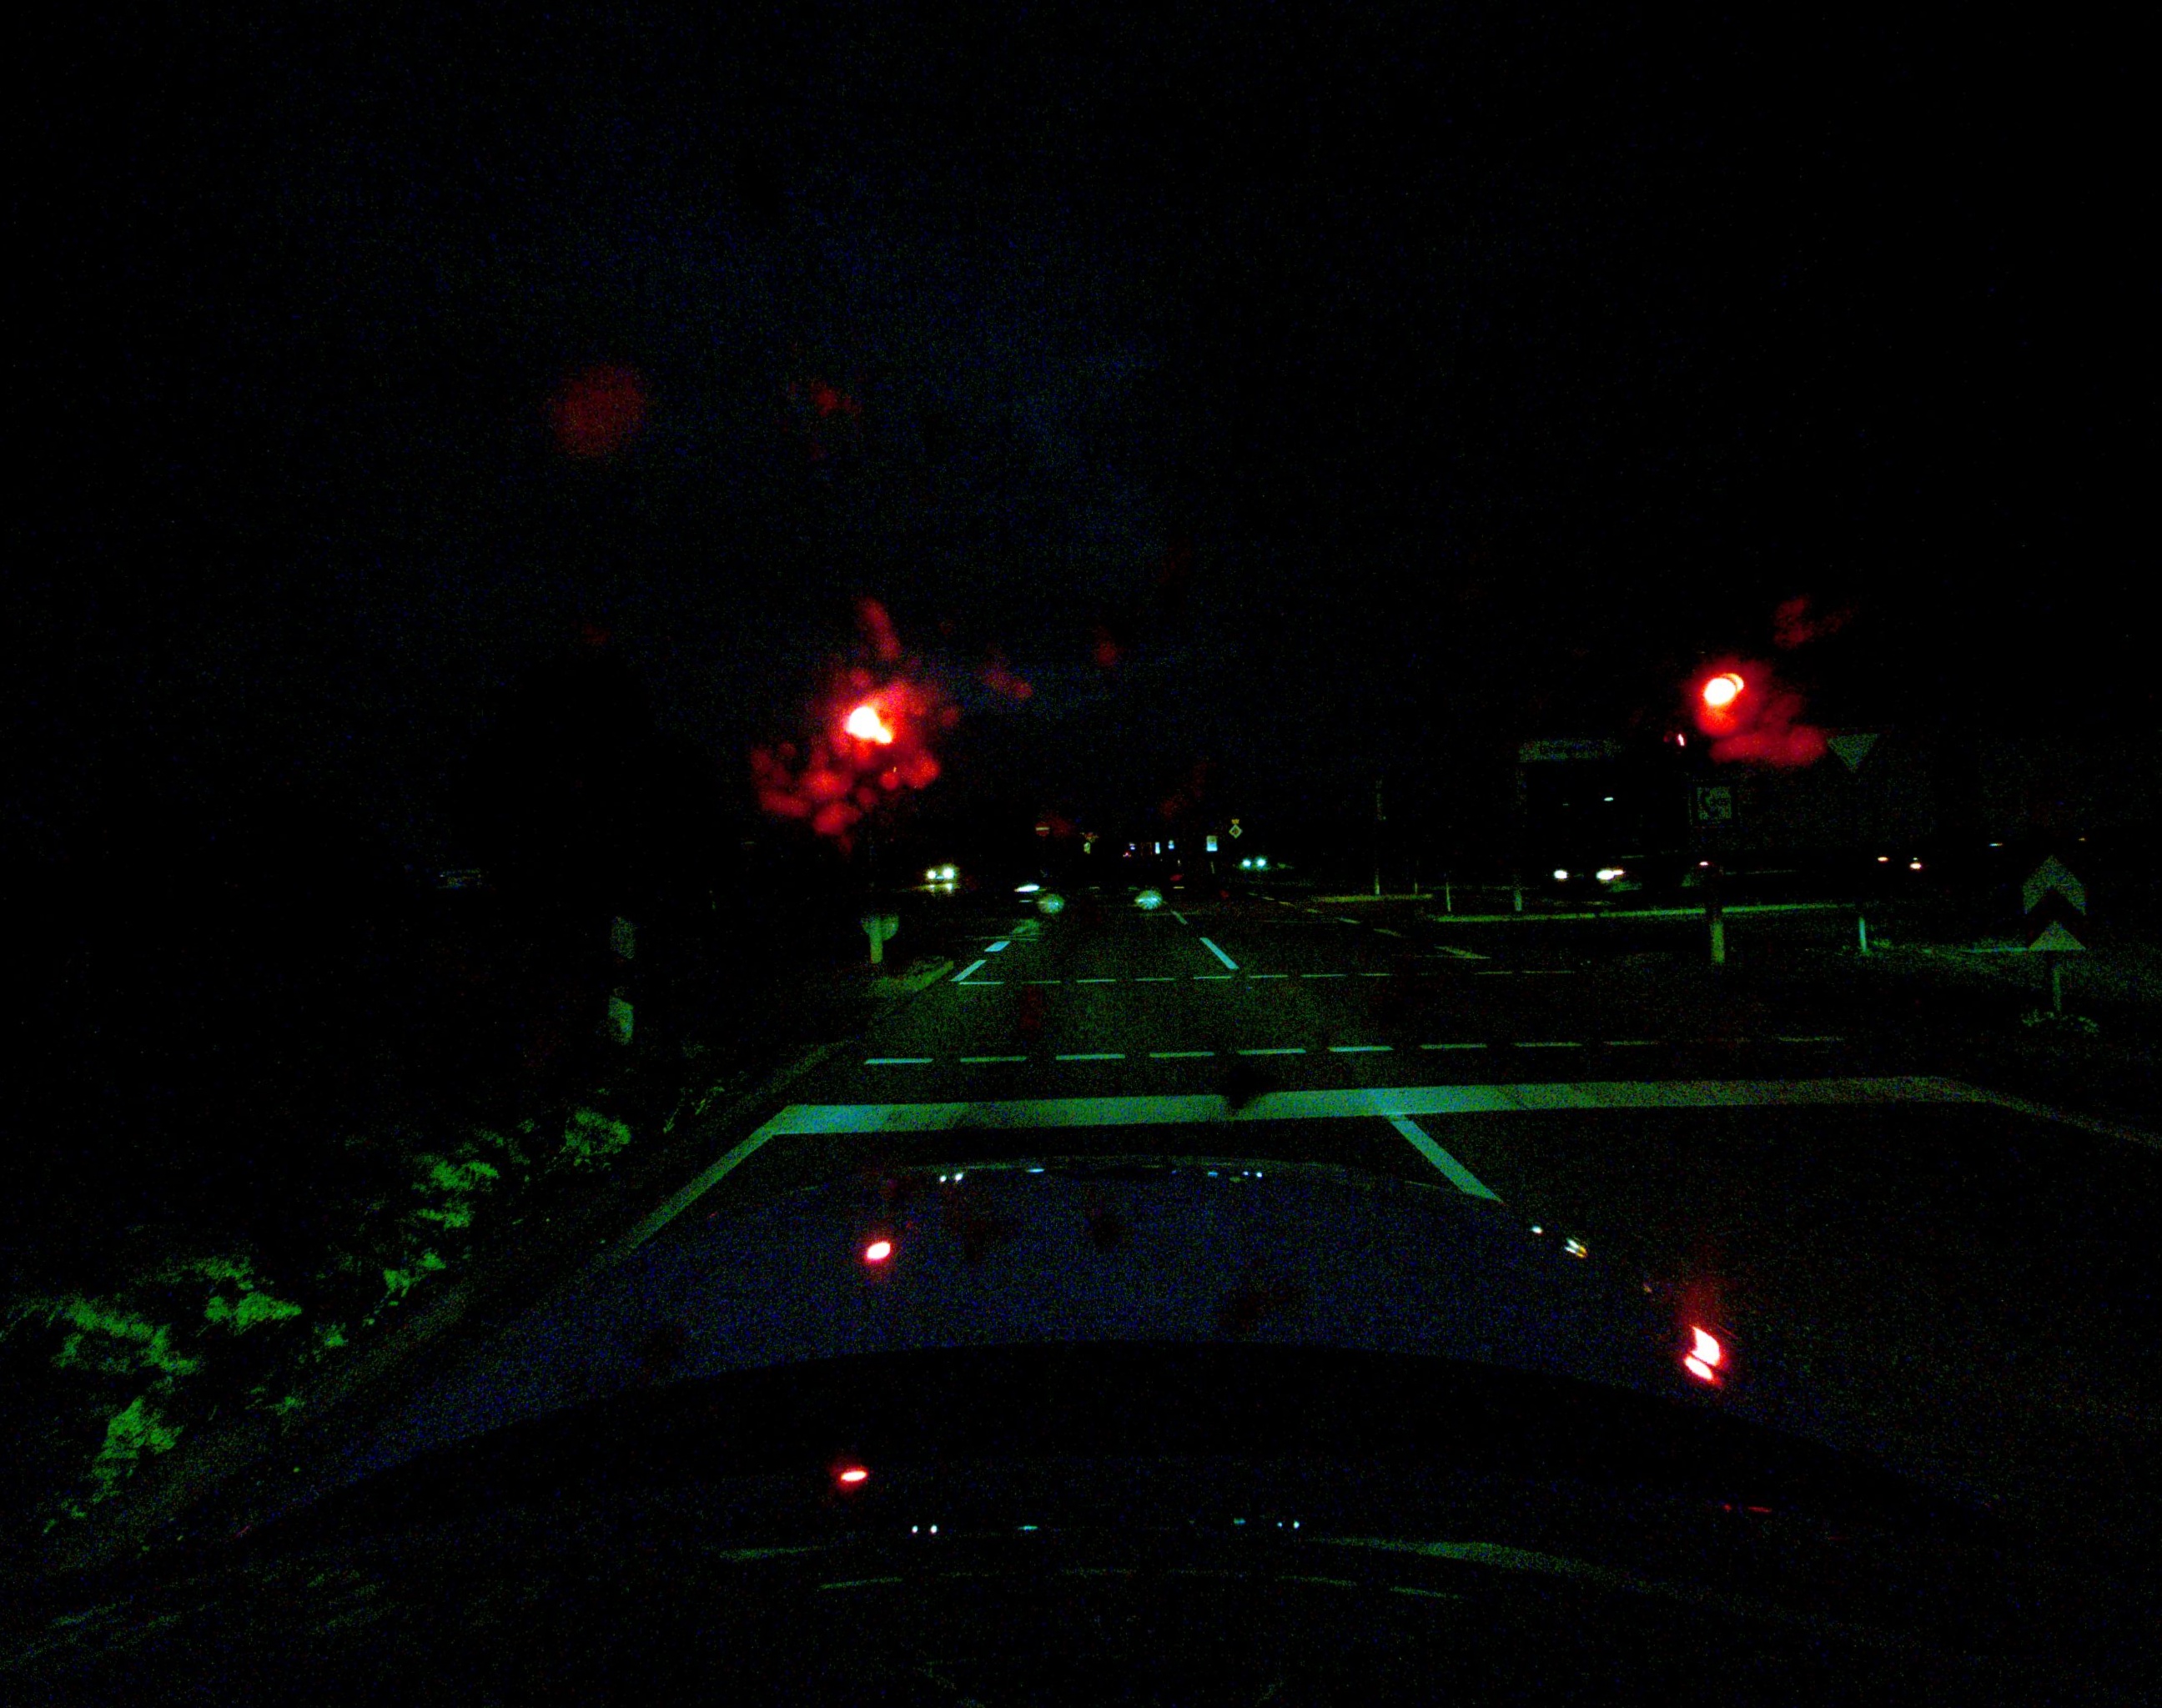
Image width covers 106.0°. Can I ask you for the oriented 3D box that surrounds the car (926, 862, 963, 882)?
[{"bbox_3d":[-10.361,1.359,62.205,1.986,1.387,4.002,-2,0,2],"label":"car"}]

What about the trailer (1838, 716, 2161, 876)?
[{"bbox_3d":[28.398,-1.711,24.614,9.036,4.302,2.917,-2,0,-7],"label":"trailer"}]

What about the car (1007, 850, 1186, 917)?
[{"bbox_3d":[0.372,0.761,22.477,4.604,1.520,1.992,-3,0,-12],"label":"car"}]

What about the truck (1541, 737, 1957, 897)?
[{"bbox_3d":[19.032,-1.047,23.515,10.022,3.979,2.920,-2,0,-5],"label":"truck"}]
